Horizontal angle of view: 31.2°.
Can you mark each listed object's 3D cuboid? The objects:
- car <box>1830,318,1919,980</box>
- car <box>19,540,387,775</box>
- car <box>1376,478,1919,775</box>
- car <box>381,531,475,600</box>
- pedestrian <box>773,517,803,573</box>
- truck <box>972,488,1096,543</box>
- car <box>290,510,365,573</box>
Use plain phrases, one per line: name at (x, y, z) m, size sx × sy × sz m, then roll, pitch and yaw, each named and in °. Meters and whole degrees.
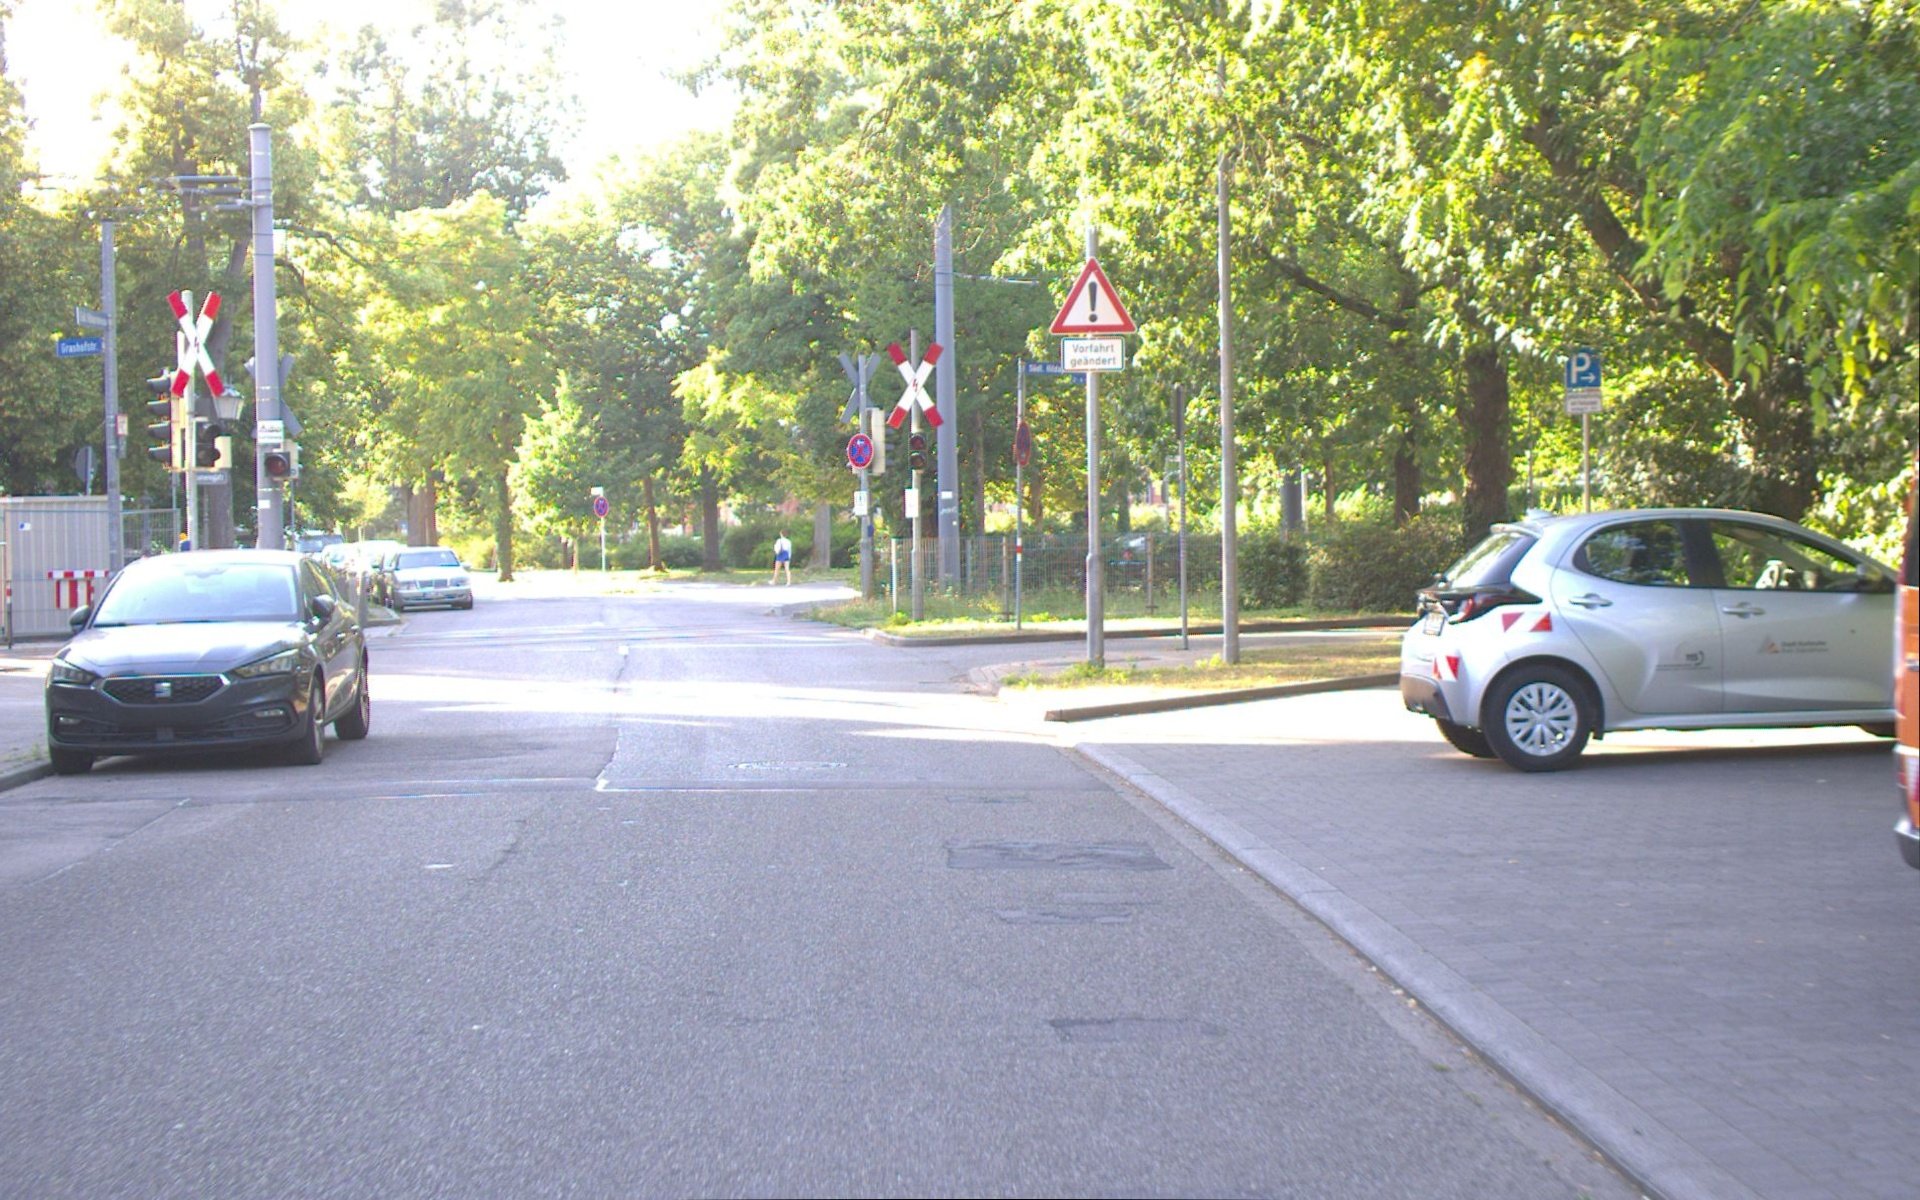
car at (5.286, 0.037, 10.091) m, size 4.794 × 1.991 × 2.081 m, roll -3°, pitch 1°, yaw -5°
car at (-5.206, 0.331, 24.164) m, size 1.743 × 1.443 × 4.209 m, roll -1°, pitch 1°, yaw -2°
car at (4.645, 0.102, 20.587) m, size 3.987 × 1.541 × 1.735 m, roll -3°, pitch 1°, yaw -2°
car at (-12.011, -0.805, 77.417) m, size 1.779 × 1.411 × 4.499 m, roll -3°, pitch 2°, yaw -12°
pedestrian at (-4.922, -1.571, 98.452) m, size 0.773 × 1.569 × 0.768 m, roll -1°, pitch 1°, yaw -6°
truck at (4.100, -4.703, 192.959) m, size 2.604 × 3.019 × 8.007 m, roll -2°, pitch 2°, yaw -36°
car at (-20.311, -1.893, 110.285) m, size 1.850 × 1.939 × 4.842 m, roll -1°, pitch 1°, yaw -16°
